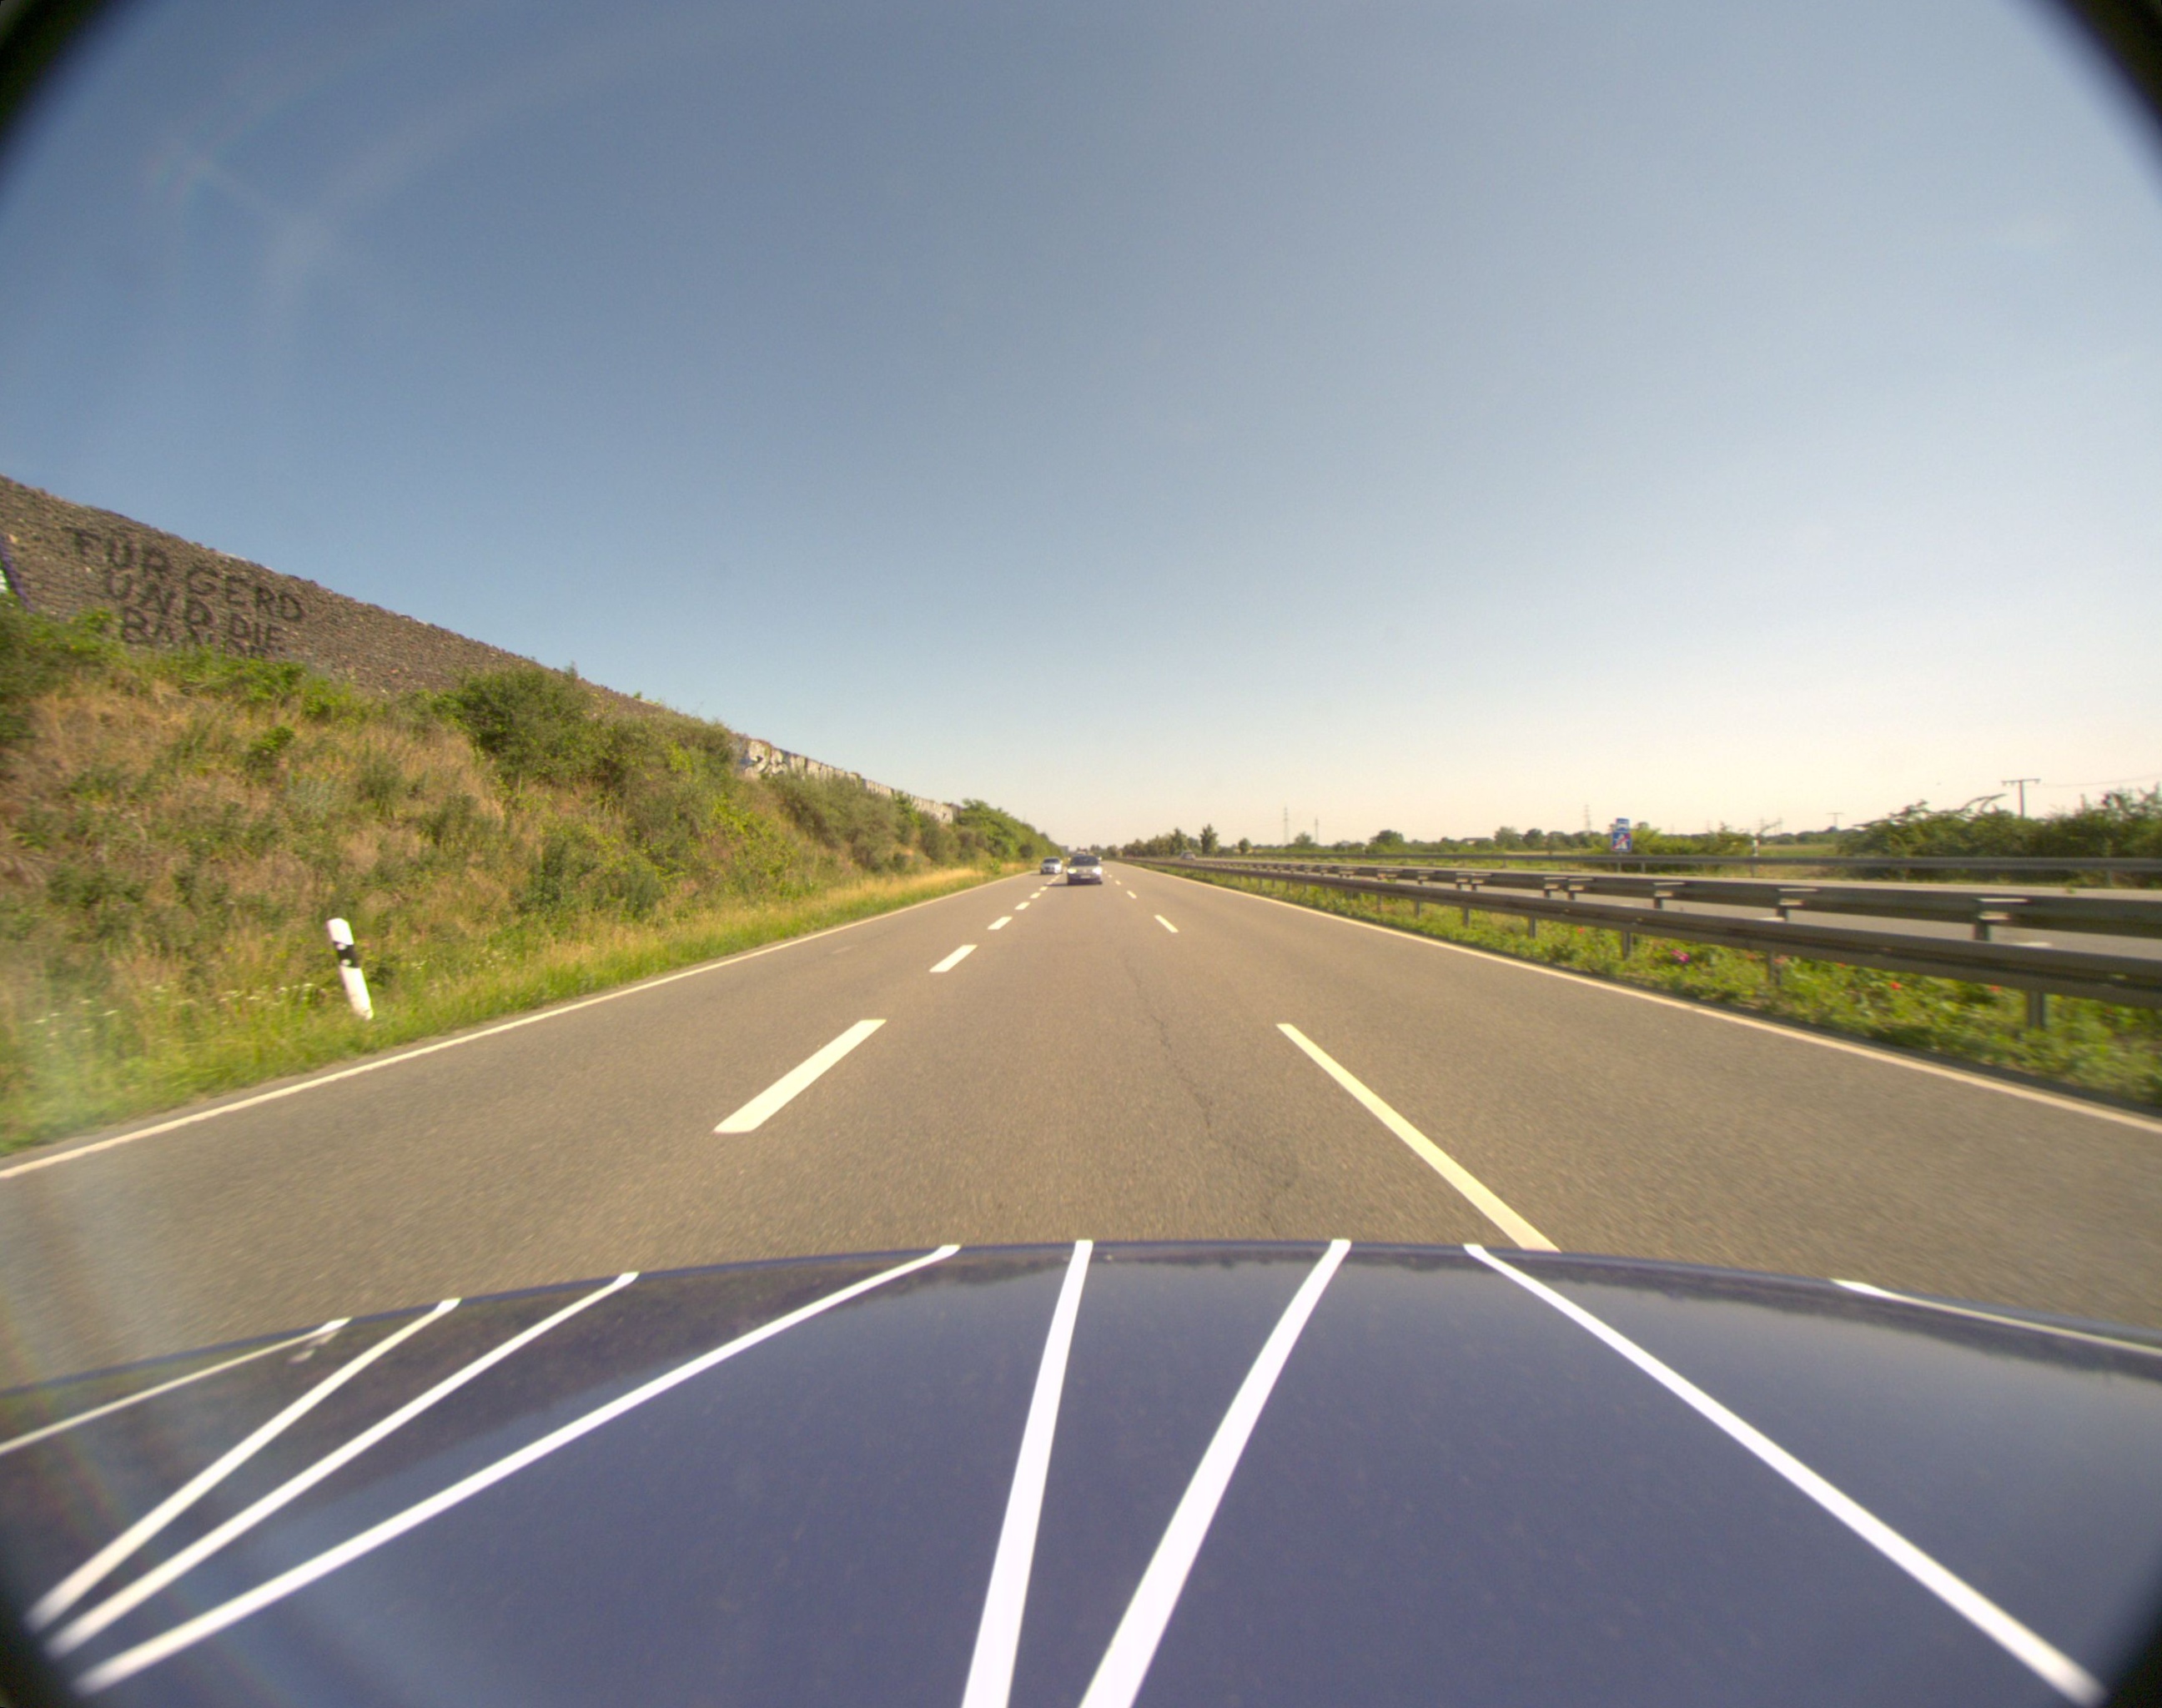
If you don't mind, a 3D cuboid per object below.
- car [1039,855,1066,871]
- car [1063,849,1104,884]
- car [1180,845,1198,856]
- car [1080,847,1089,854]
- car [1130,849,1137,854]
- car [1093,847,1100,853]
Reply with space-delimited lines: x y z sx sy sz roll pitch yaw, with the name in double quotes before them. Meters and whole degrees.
"car" -2.439 0.779 65.731 1.854 1.212 4.000 -3 1 3
"car" 0.186 0.607 39.668 1.854 1.635 4.000 -3 1 3
"car" 15.693 -0.471 110.569 1.704 1.476 4.619 -5 0 0
"car" 0.655 -0.741 151.007 1.790 1.212 3.999 -3 1 -1
"car" 16.453 -0.787 237.440 1.872 1.426 4.934 -4 0 0
"car" 4.975 -1.282 245.873 1.854 1.602 4.000 -3 1 4
